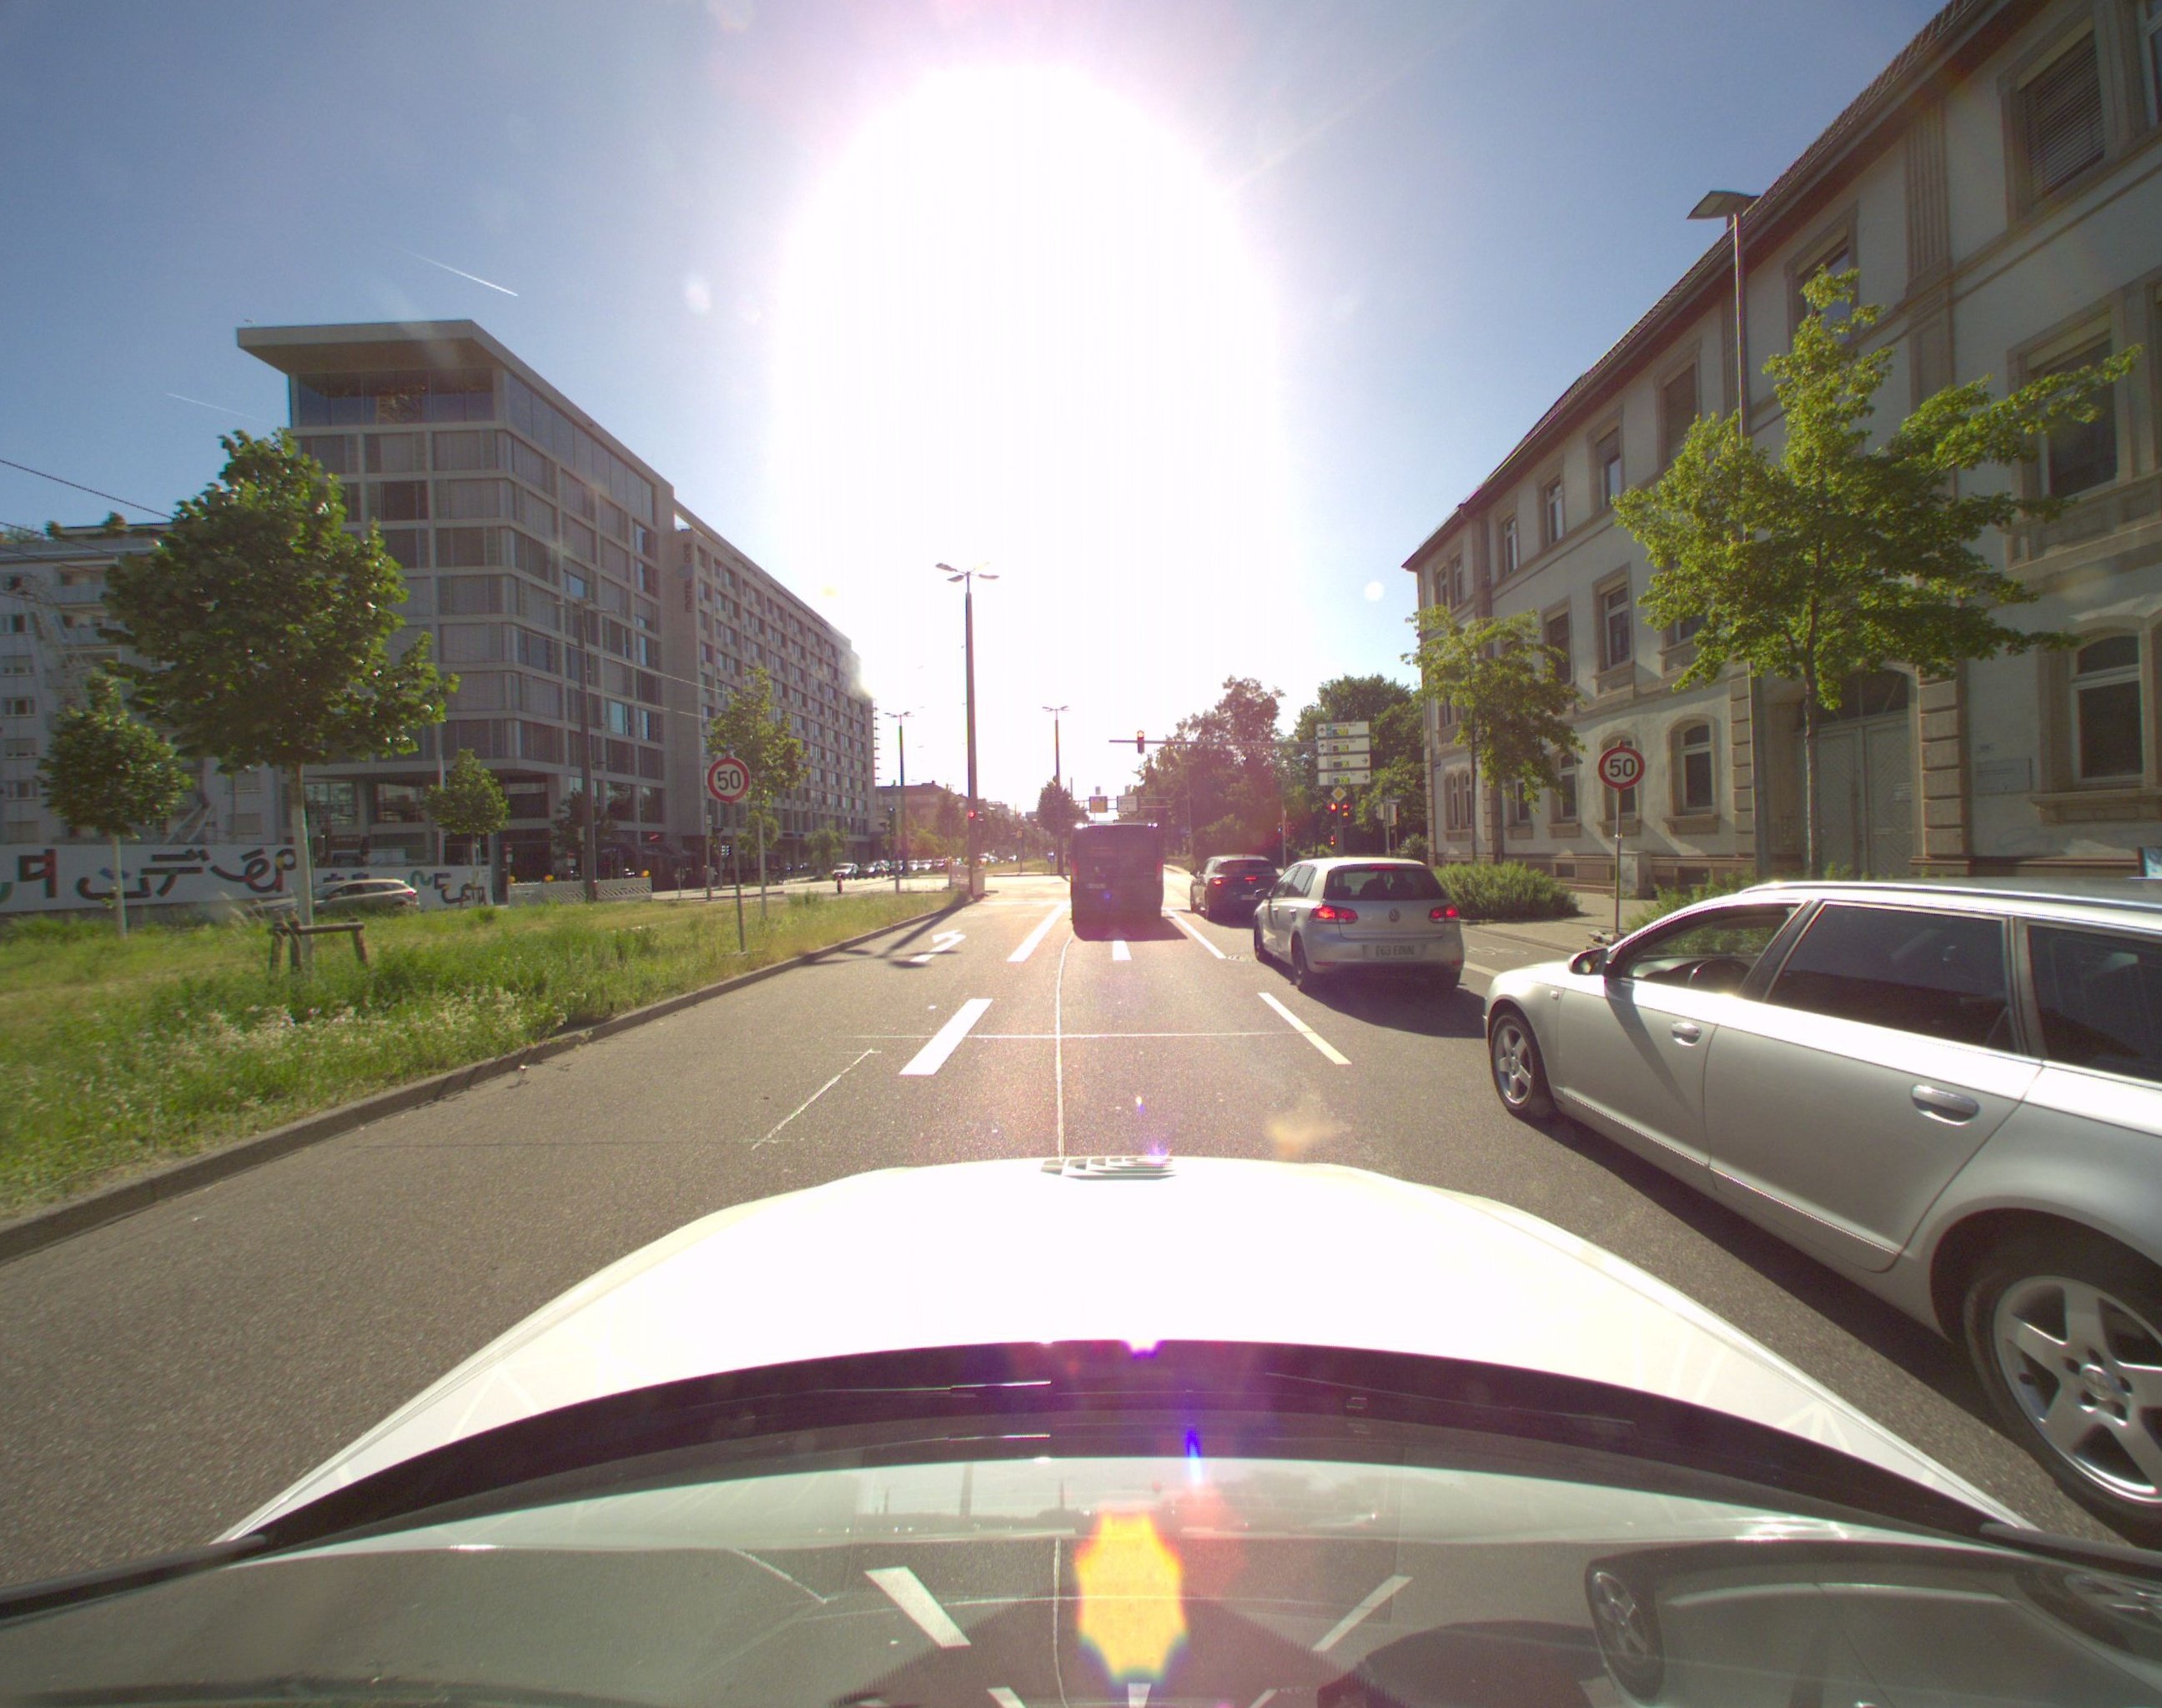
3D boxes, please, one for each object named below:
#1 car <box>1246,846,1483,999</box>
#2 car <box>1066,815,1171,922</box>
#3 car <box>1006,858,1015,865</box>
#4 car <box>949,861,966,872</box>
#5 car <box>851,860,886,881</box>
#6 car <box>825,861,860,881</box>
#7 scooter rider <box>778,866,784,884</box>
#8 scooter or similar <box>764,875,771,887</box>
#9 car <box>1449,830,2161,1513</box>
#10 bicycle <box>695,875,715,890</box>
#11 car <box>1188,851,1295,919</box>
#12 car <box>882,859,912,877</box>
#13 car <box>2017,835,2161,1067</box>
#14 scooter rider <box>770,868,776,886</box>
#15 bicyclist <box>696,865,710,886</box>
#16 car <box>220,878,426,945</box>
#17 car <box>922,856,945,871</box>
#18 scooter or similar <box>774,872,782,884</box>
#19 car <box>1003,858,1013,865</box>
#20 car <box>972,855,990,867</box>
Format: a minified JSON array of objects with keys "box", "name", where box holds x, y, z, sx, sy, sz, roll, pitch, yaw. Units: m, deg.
[{"box":[3.269,0.685,10.233,1.742,1.527,4.008,-1,0,3],"name":"car"},{"box":[0.846,0.284,19.566,2.210,2.267,4.485,-1,1,1],"name":"car"},{"box":[-18.391,1.962,212.598,1.783,1.651,4.003,-2,0,3],"name":"car"},{"box":[-19.349,1.910,127.307,1.783,1.651,4.003,-2,0,3],"name":"car"},{"box":[-18.701,1.427,71.752,1.783,1.651,4.003,-2,0,3],"name":"car"},{"box":[-21.706,1.542,74.220,1.783,1.651,4.003,-2,0,3],"name":"car"},{"box":[-24.474,1.675,66.428,0.341,1.453,0.239,-2,0,2],"name":"scooter rider"},{"box":[-25.610,2.199,66.549,0.285,0.947,0.766,-2,0,-5],"name":"scooter or similar"},{"box":[3.230,0.640,3.134,1.740,1.427,4.844,-1,0,4],"name":"car"},{"box":[-28.474,2.145,61.665,0.584,1.100,1.625,0,-1,6],"name":"bicycle"},{"box":[3.670,0.676,19.258,1.786,1.428,3.850,-1,0,1],"name":"car"},{"box":[-18.027,1.335,79.870,1.783,1.651,4.003,-2,0,3],"name":"car"},{"box":[7.887,0.620,3.801,1.641,1.475,4.702,-4,0,2],"name":"car"},{"box":[-25.236,1.909,66.672,0.341,1.453,0.239,-2,0,2],"name":"scooter rider"},{"box":[-28.606,1.617,61.599,0.590,1.580,0.894,0,-1,6],"name":"bicyclist"},{"box":[-24.602,1.796,26.710,1.980,1.792,4.543,-2,0,13],"name":"car"},{"box":[-17.515,1.063,96.704,1.783,1.651,4.003,-2,0,3],"name":"car"},{"box":[-24.682,1.928,66.332,0.227,0.947,0.768,-2,0,3],"name":"scooter or similar"},{"box":[-18.130,1.879,202.835,1.783,1.651,4.003,-2,0,3],"name":"car"},{"box":[-14.384,1.025,117.537,1.783,1.651,4.003,-2,0,3],"name":"car"}]
